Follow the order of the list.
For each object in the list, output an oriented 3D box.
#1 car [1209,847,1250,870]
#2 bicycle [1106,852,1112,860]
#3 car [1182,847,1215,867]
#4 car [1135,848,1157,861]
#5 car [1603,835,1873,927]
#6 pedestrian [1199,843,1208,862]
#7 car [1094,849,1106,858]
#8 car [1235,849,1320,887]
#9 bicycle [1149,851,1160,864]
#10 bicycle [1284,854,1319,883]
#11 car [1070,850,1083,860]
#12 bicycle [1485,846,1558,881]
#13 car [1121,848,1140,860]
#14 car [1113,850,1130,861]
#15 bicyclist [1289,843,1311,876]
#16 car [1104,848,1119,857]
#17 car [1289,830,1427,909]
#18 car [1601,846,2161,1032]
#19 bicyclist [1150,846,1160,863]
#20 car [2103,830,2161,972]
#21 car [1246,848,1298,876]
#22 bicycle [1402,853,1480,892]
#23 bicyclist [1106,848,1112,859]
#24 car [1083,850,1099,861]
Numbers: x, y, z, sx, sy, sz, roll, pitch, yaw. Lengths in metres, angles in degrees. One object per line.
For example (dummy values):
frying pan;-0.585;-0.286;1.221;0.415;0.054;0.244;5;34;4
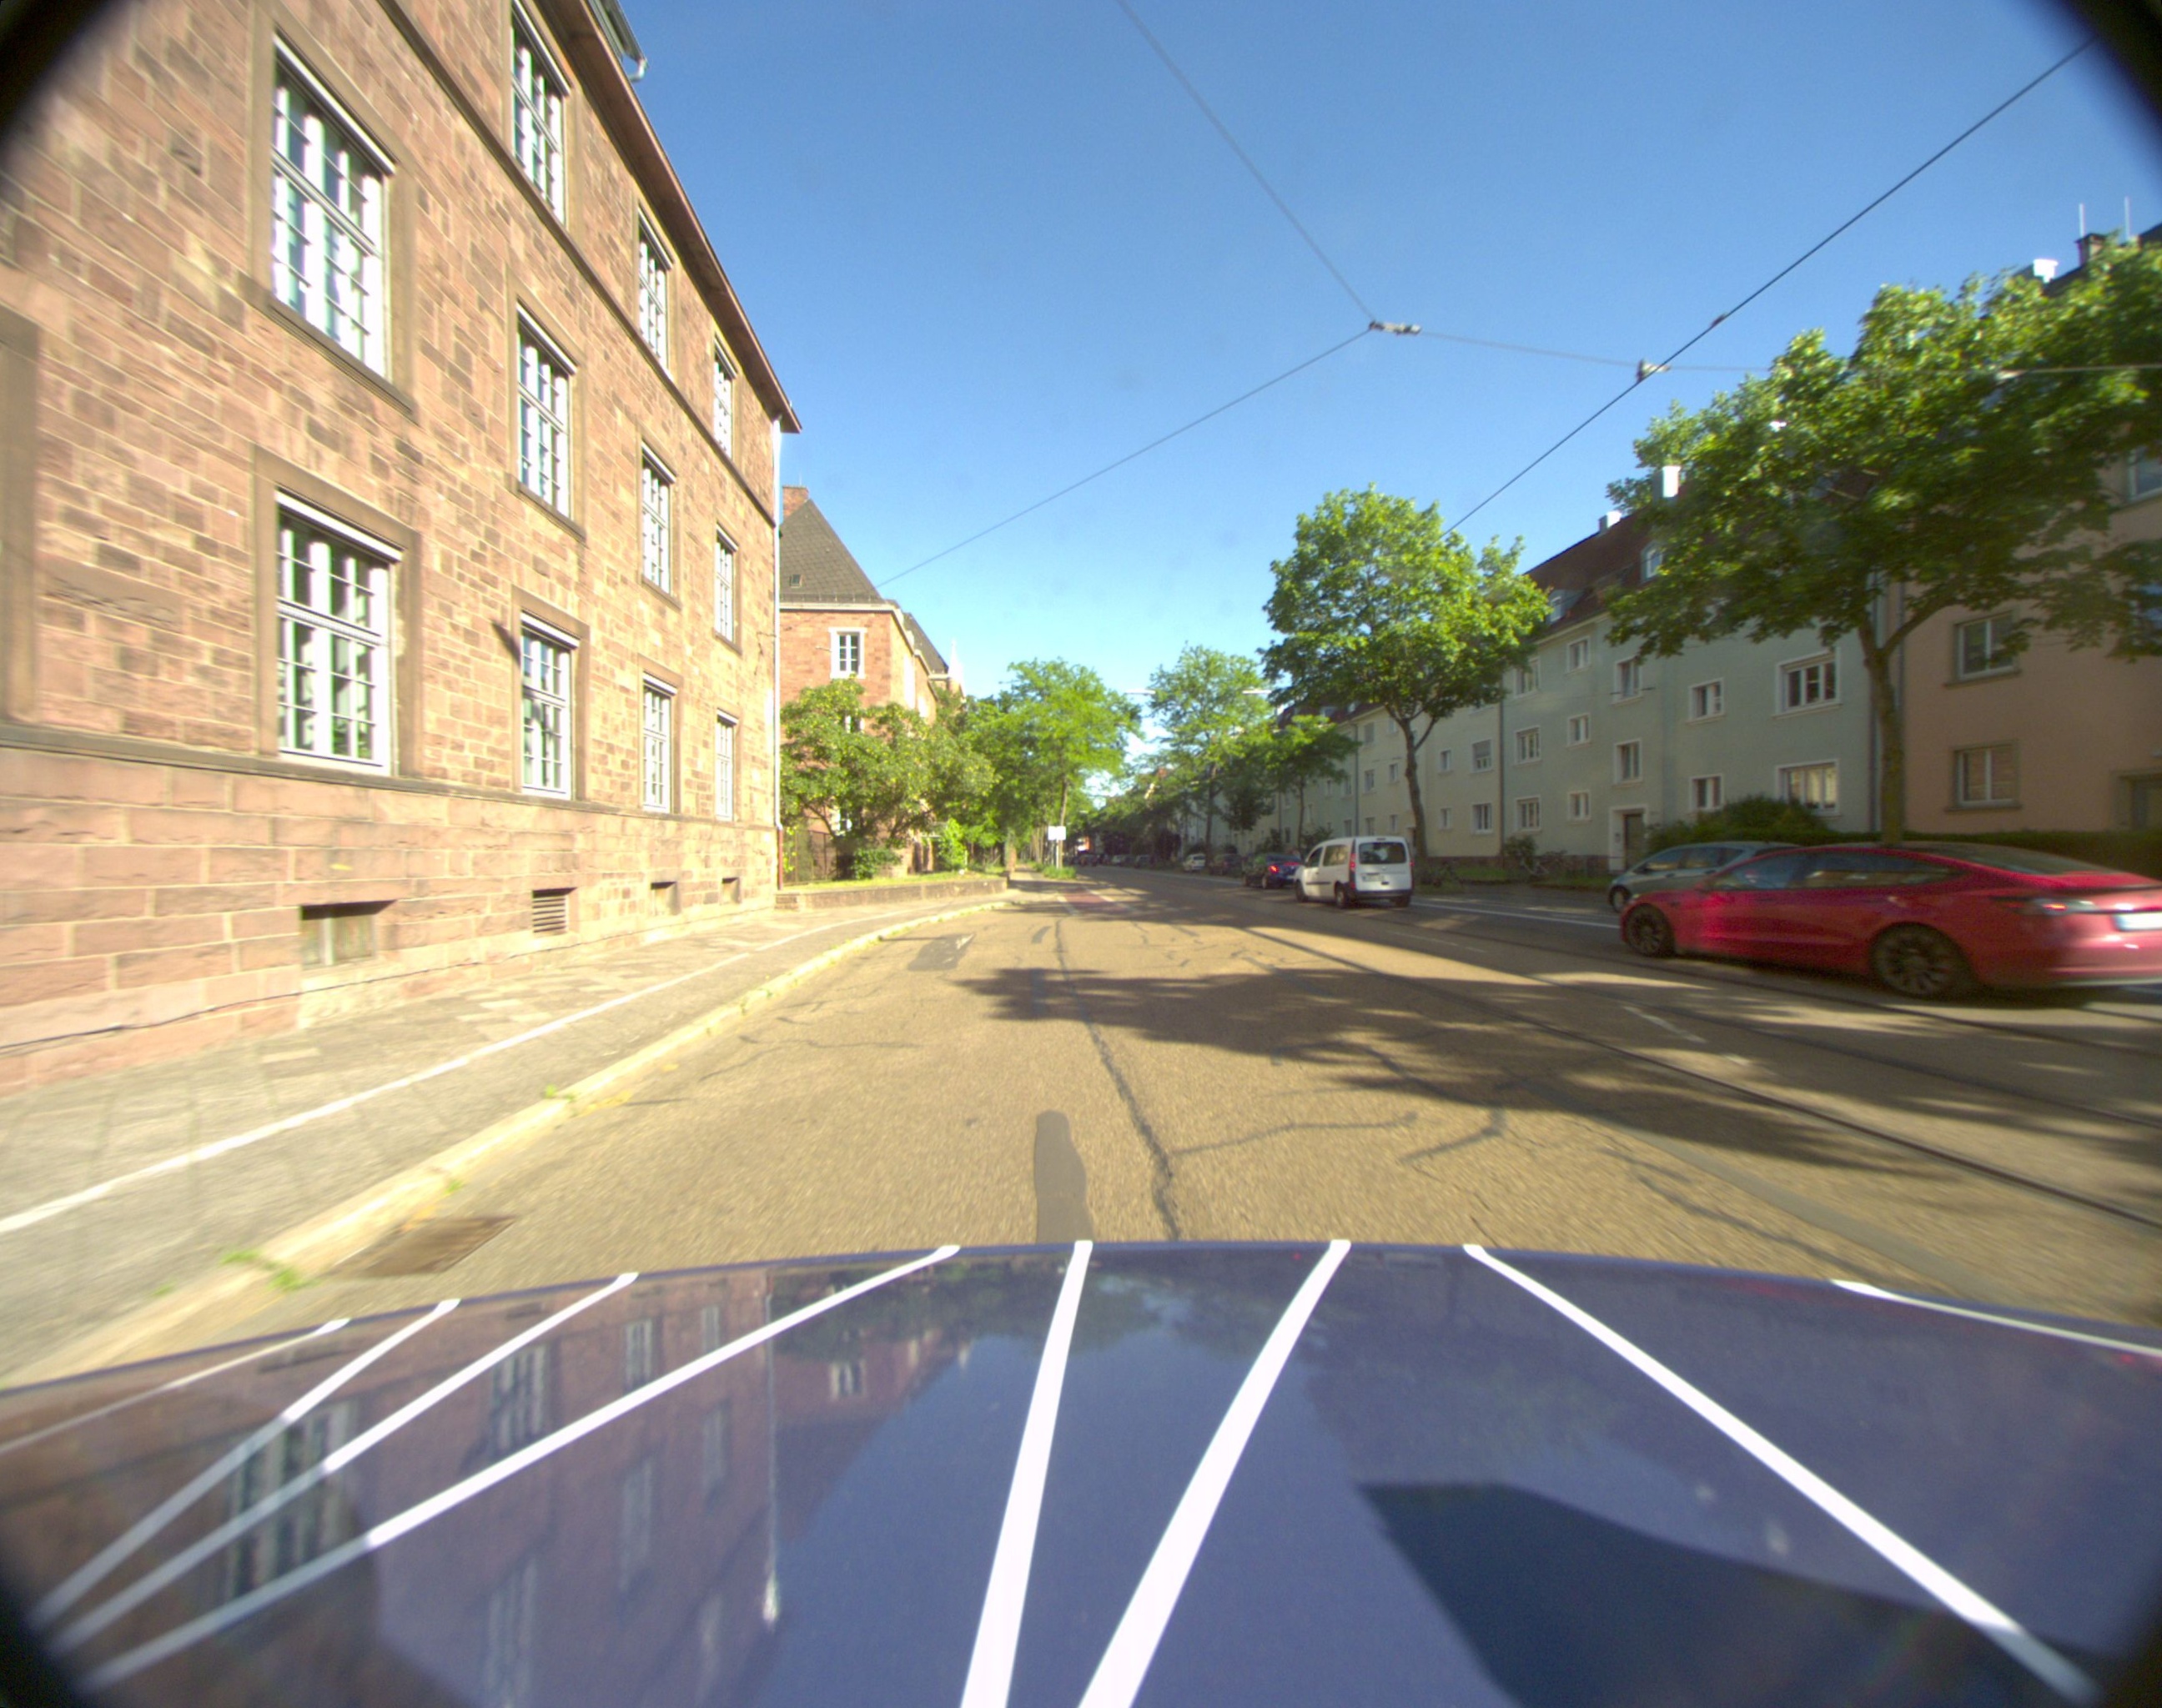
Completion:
car;10.350;0.290;53.207;1.692;1.476;3.758;-3;1;-5
bicycle;3.978;0.265;107.705;0.628;1.170;1.912;2;0;-4
car;9.621;0.201;62.572;1.707;1.476;4.077;-3;1;-4
car;7.492;0.051;88.173;1.822;1.476;4.204;-2;0;-5
car;13.286;0.473;15.755;1.751;1.560;4.066;-3;1;-7
pedestrian;11.389;-0.128;70.670;0.693;1.791;0.813;0;1;-5
car;3.518;-0.071;142.533;1.781;1.532;4.483;-2;0;-4
car;7.812;0.520;30.680;1.815;1.379;4.437;-1;0;-7
bicycle;7.063;0.349;72.703;0.696;1.170;1.912;2;0;-4
bicycle;9.773;0.615;33.718;0.559;1.191;2.290;3;0;-7
car;-0.735;0.174;119.227;1.704;1.431;4.069;-1;0;-6
bicycle;16.465;0.351;28.423;2.290;1.191;0.559;-3;0;2
car;6.532;-0.028;101.363;1.763;1.502;4.436;-2;0;-6
car;5.933;0.187;111.770;1.822;1.502;4.368;-2;0;-6
bicyclist;9.764;0.253;33.919;0.559;1.448;0.869;3;0;-7
car;4.943;-0.200;123.177;1.710;1.398;4.331;-2;0;-5
car;7.225;0.355;20.361;1.815;1.878;4.438;-1;0;-4
car;8.297;0.627;8.142;1.927;1.379;4.684;-1;0;-6
bicyclist;7.072;0.046;72.753;0.712;1.598;0.865;2;1;-5
car;13.831;0.526;7.344;1.751;1.651;4.387;-3;1;-9
car;11.029;0.420;44.075;1.565;1.448;3.928;-3;1;-7
bicycle;12.153;0.621;25.672;2.290;1.191;0.559;-3;0;2
bicyclist;3.982;-0.083;107.806;0.628;1.629;0.939;2;1;-5
car;1.268;0.196;98.692;1.704;1.462;4.069;-1;0;-6
